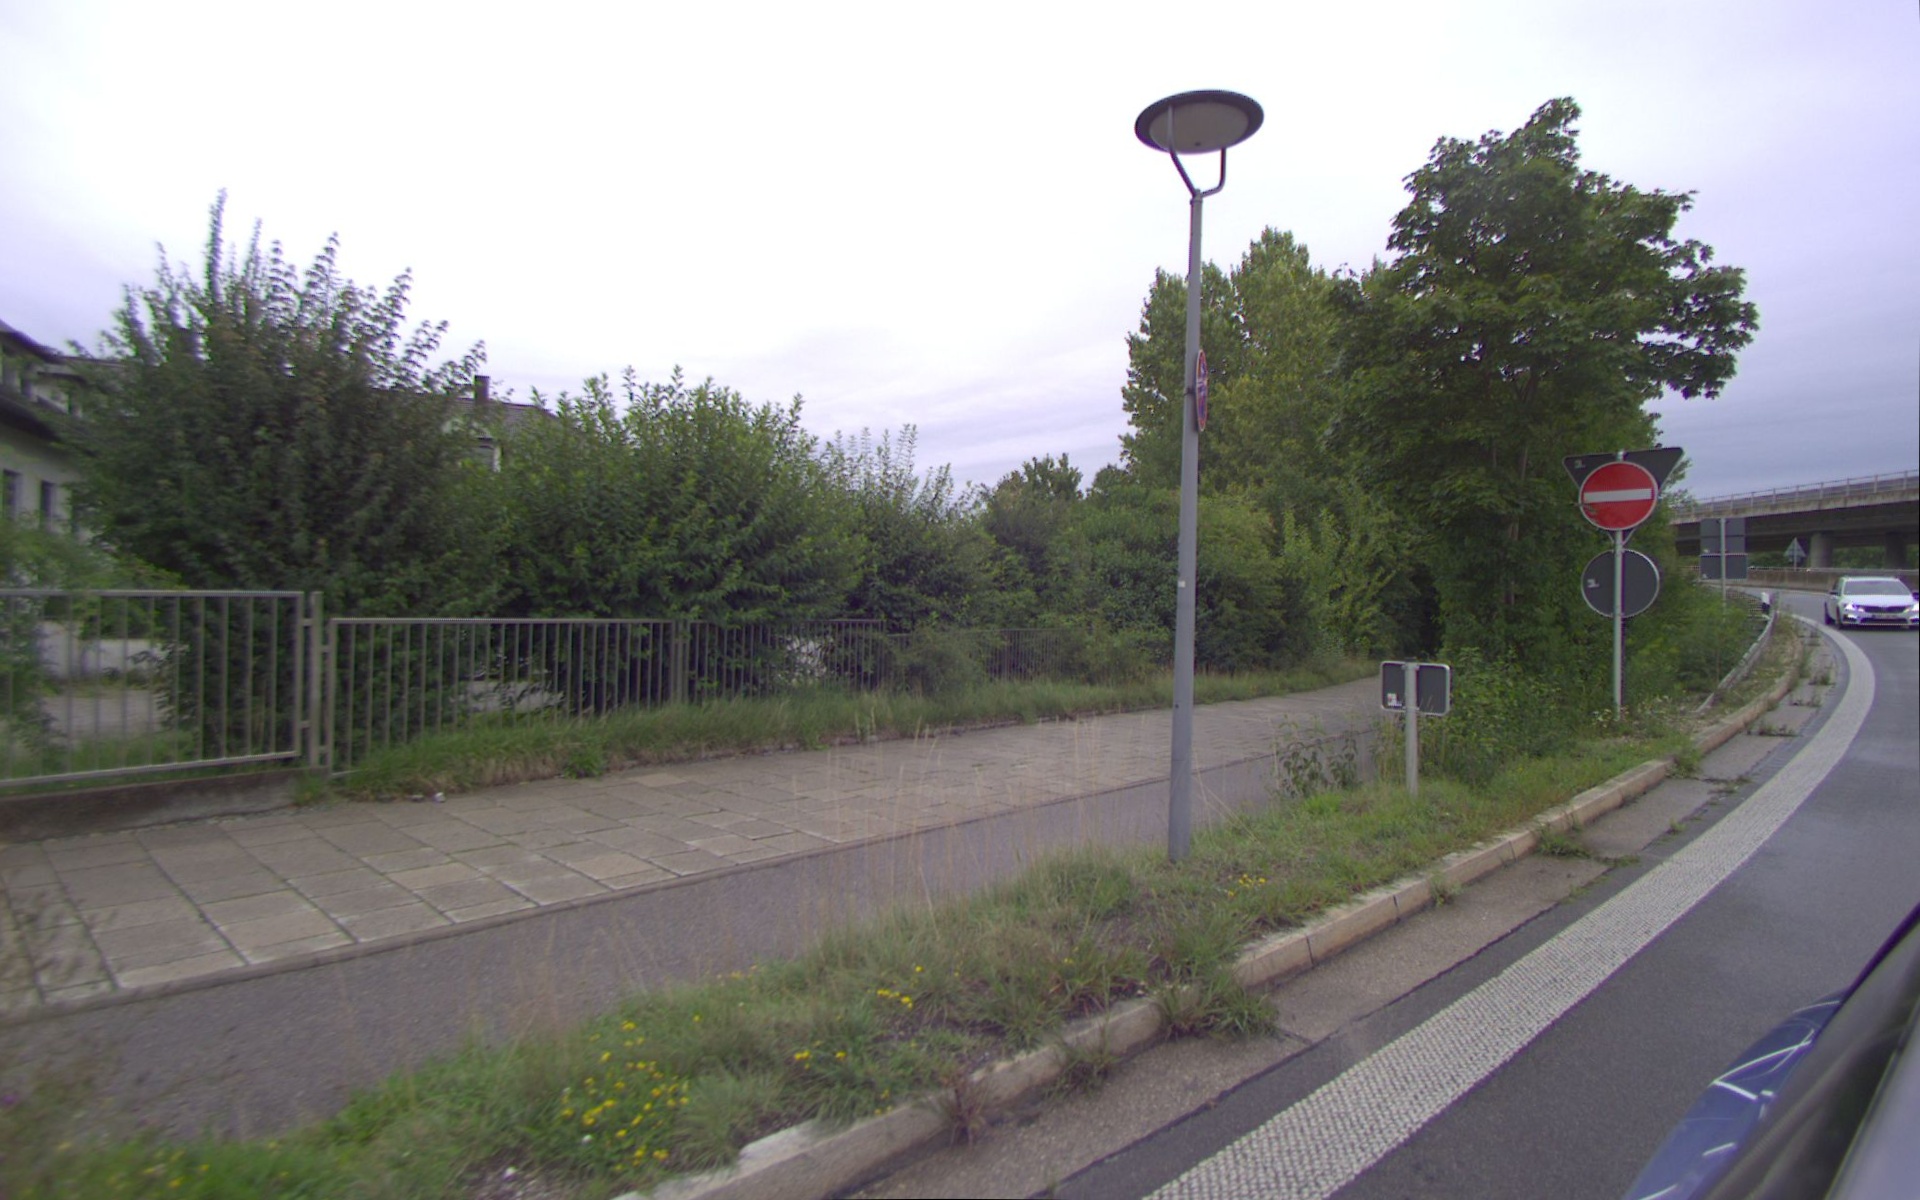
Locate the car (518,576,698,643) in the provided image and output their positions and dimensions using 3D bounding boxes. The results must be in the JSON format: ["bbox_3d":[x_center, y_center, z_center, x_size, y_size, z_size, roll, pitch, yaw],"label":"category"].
[{"bbox_3d":[-9.301,0.254,26.799,4.164,1.440,1.882,4,-1,-30],"label":"car"}]

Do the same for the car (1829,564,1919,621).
[{"bbox_3d":[26.541,-0.270,29.099,1.904,1.465,4.500,0,2,35],"label":"car"}]
